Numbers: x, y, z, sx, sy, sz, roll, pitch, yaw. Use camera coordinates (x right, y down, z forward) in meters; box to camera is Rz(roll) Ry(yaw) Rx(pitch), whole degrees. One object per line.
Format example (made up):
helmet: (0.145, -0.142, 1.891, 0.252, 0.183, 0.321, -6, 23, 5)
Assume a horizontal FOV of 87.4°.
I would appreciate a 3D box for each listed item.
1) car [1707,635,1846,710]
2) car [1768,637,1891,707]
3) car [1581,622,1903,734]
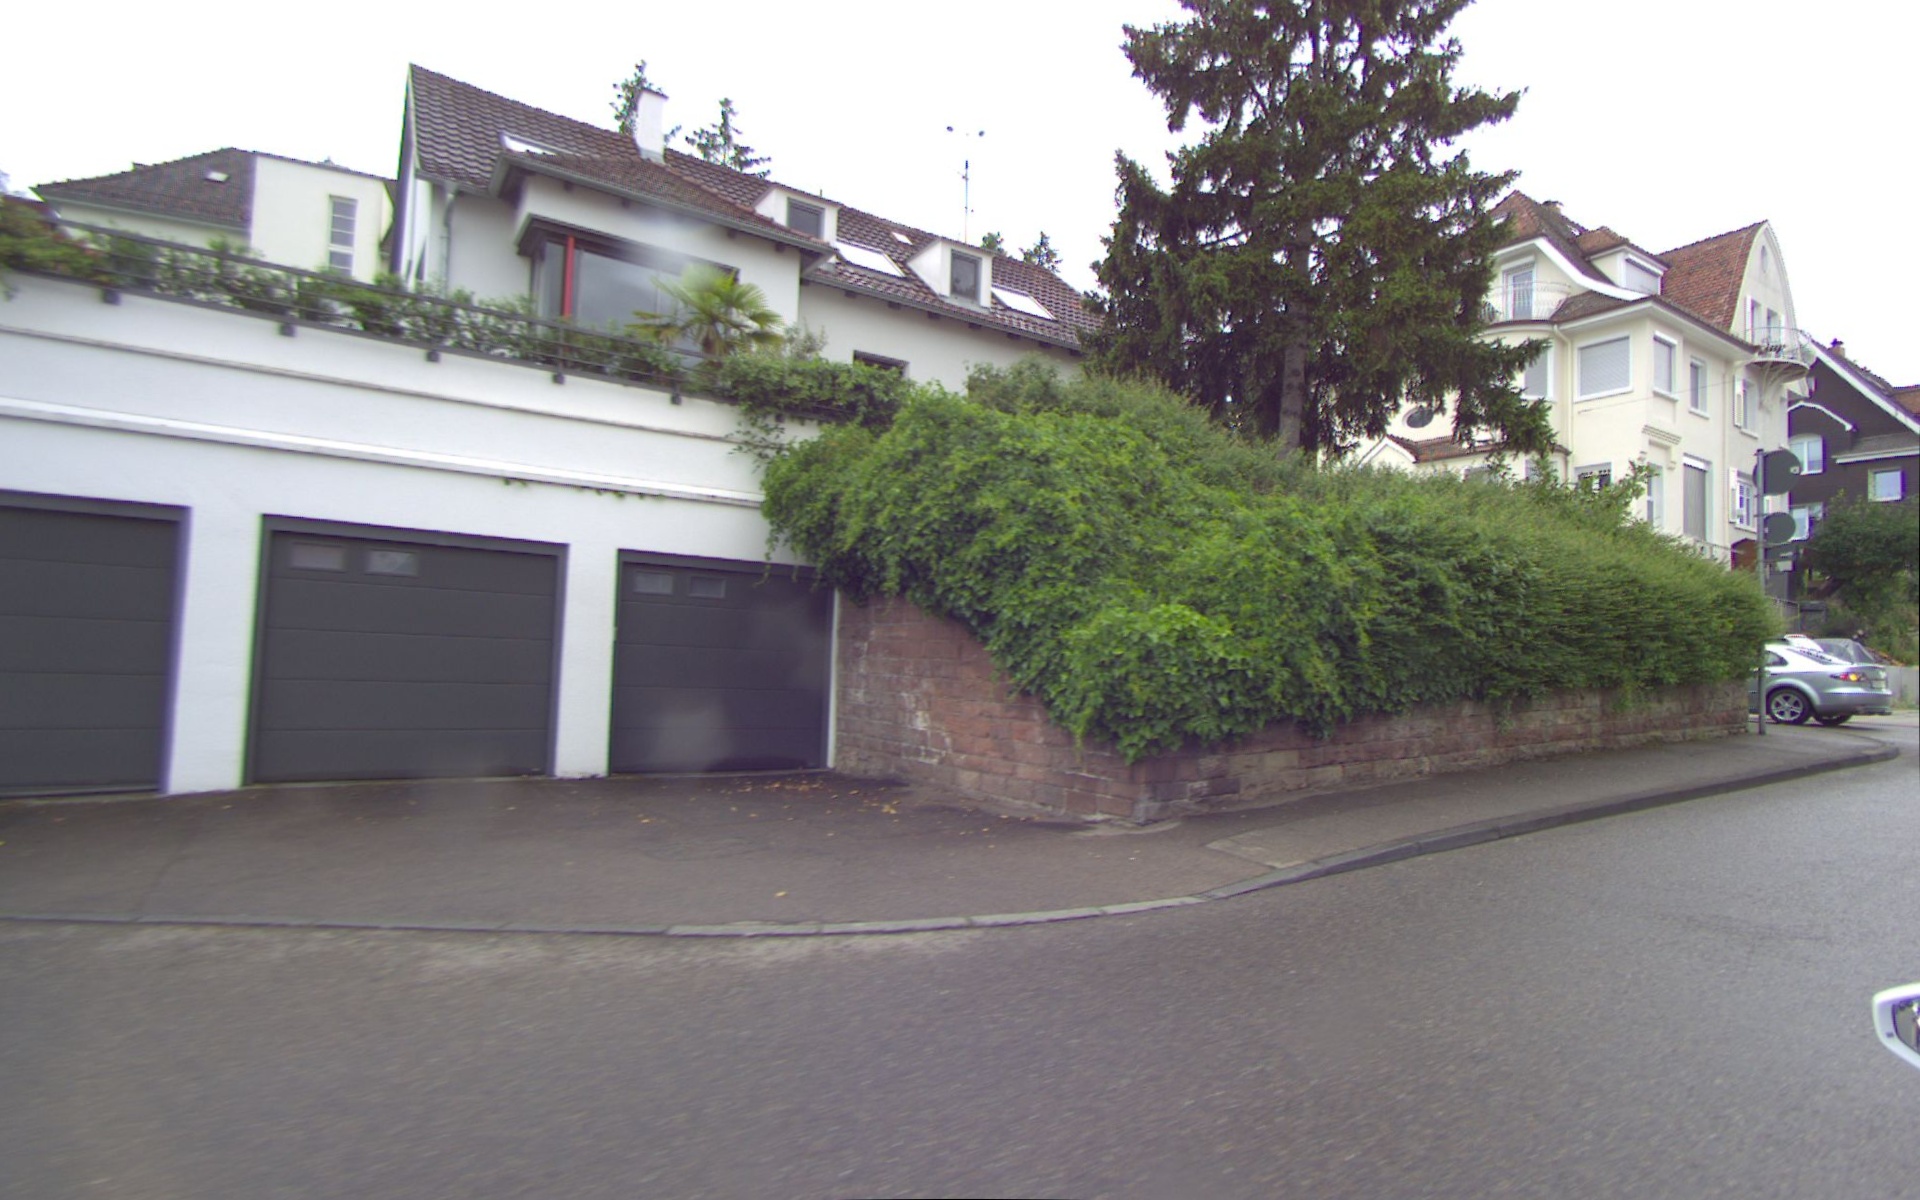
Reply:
car: (19.684, 1.704, 24.174, 3.964, 1.639, 1.753, 3, -2, -37)
car: (23.504, 1.907, 27.115, 3.964, 1.719, 1.753, 3, -2, -37)
car: (14.292, 1.339, 18.632, 1.804, 1.577, 4.337, 2, 1, -34)
